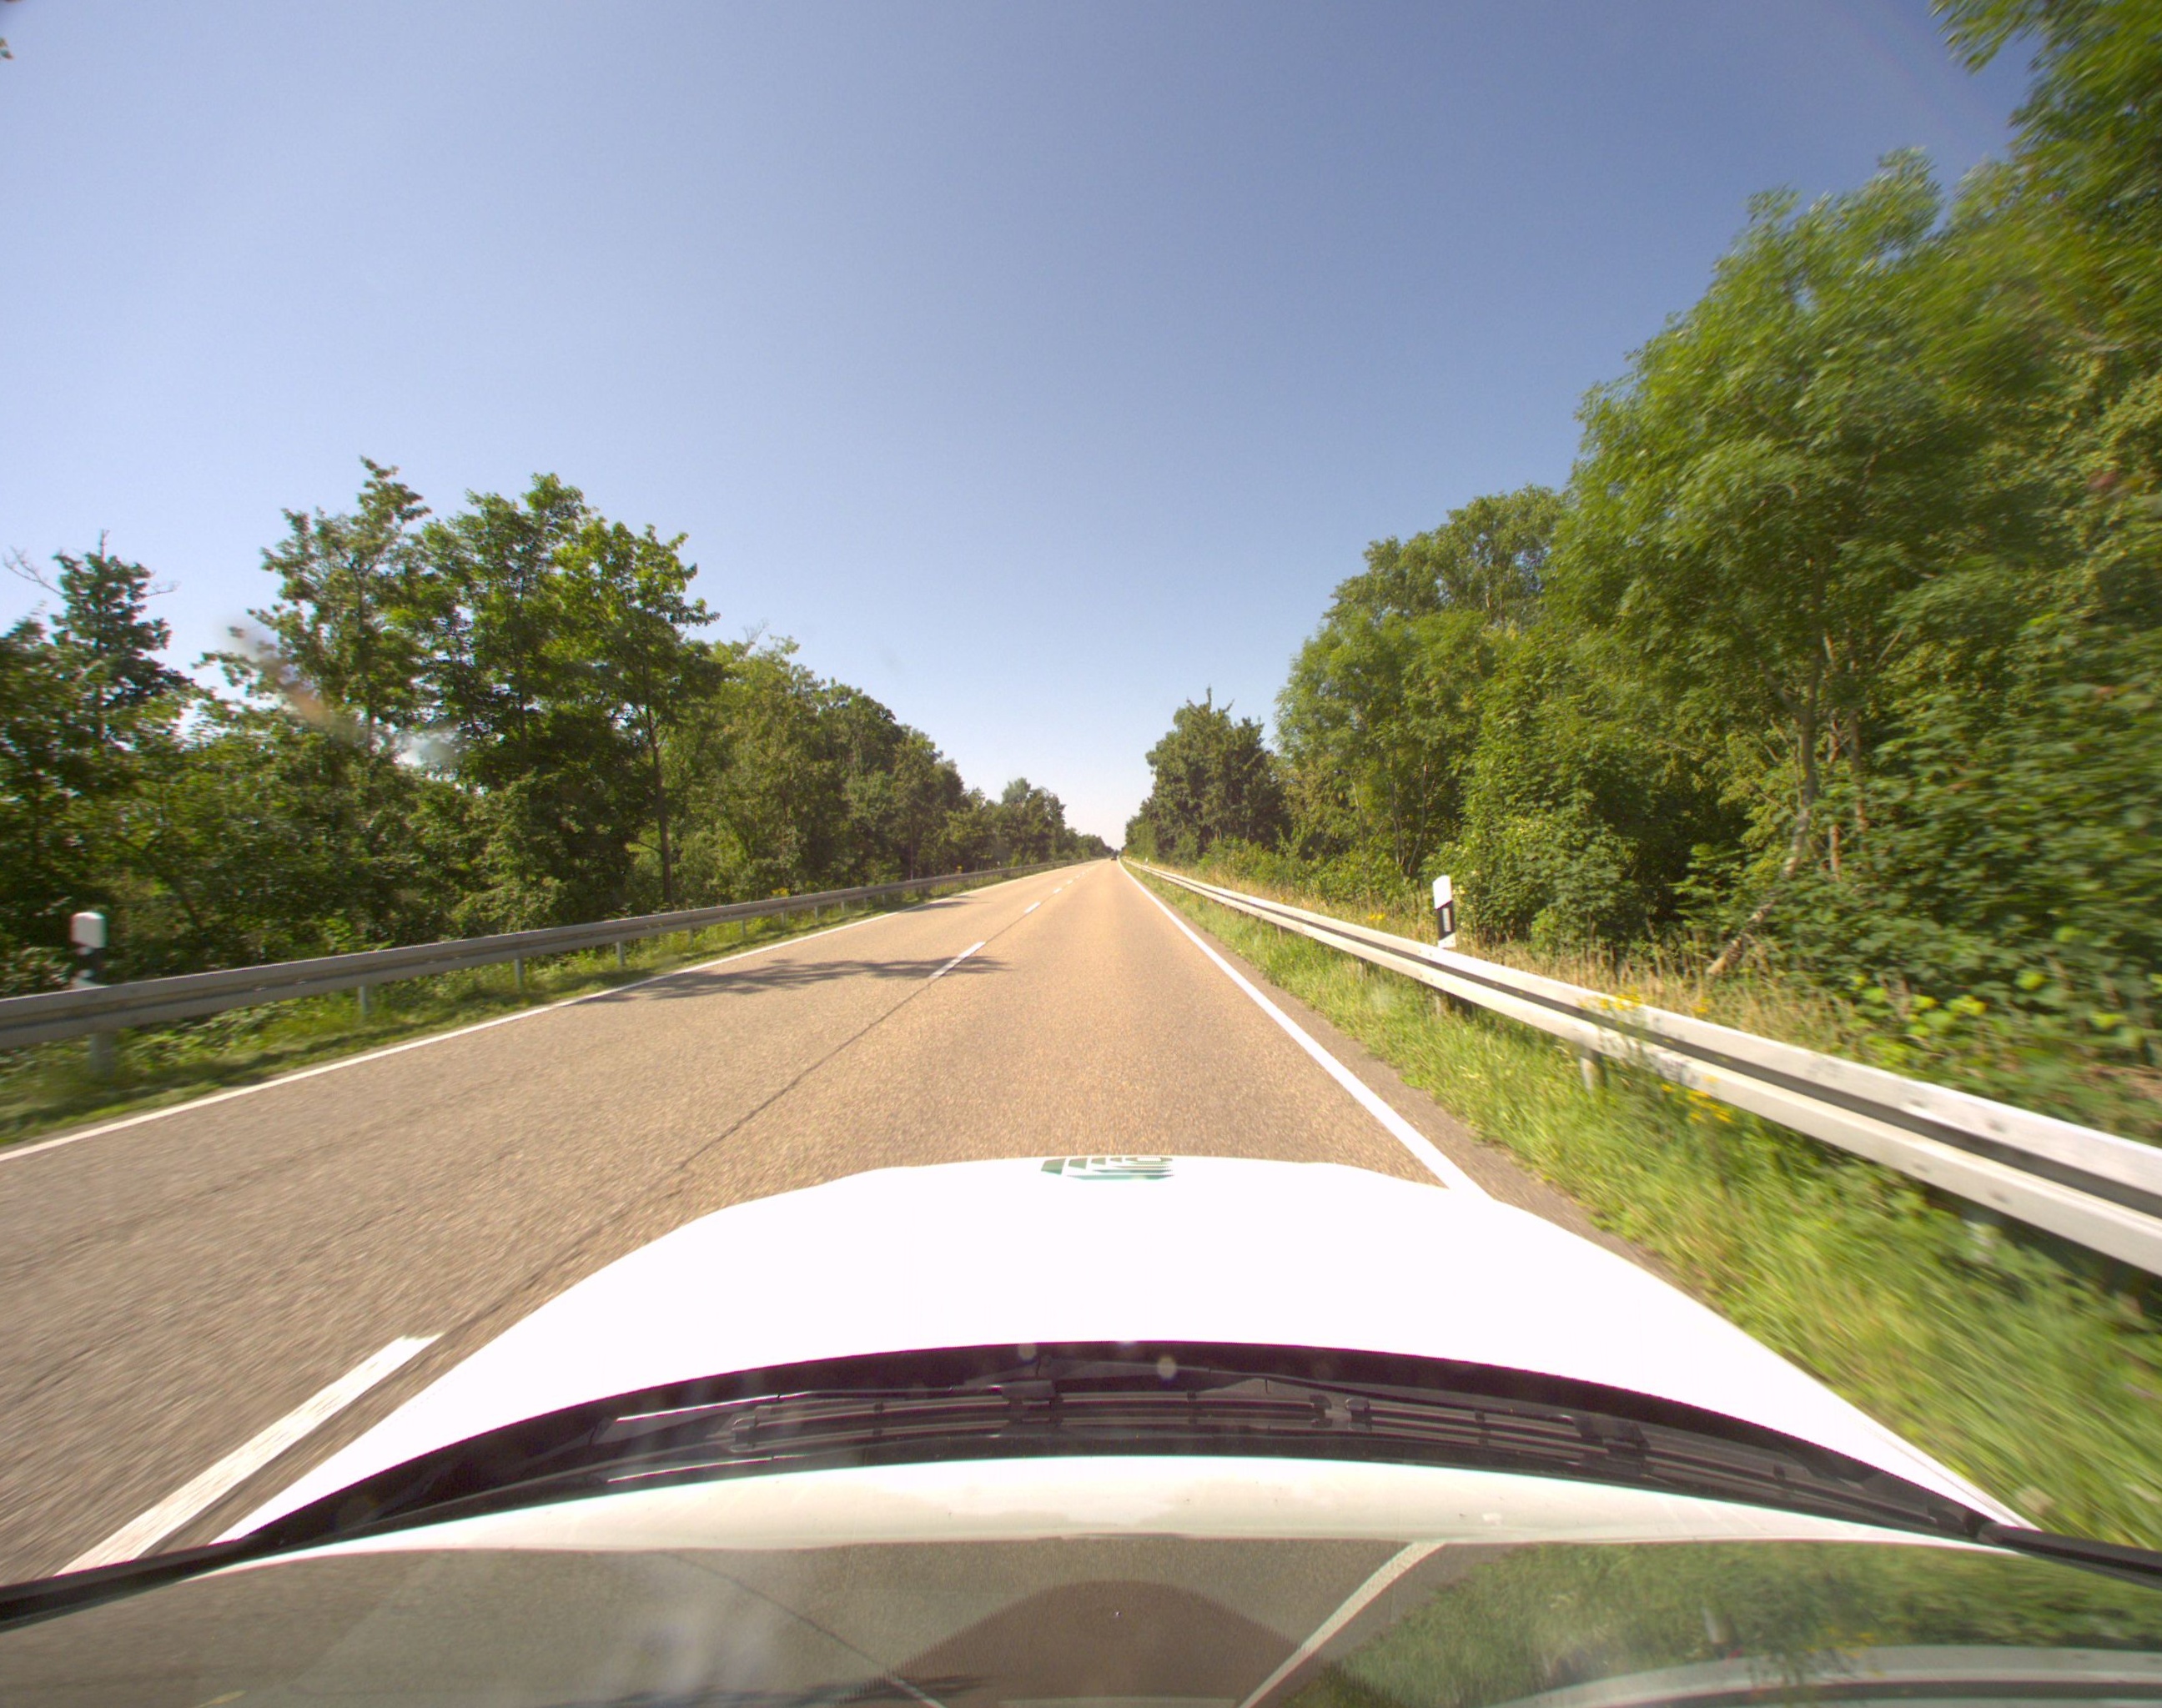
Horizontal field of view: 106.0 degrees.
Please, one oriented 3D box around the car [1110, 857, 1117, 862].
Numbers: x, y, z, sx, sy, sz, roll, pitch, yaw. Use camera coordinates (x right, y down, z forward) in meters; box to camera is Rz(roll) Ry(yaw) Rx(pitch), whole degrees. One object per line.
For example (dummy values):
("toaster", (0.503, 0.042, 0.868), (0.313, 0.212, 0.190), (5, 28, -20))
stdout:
("car", (9.380, 1.531, 235.105), (1.733, 1.470, 3.696), (-1, 0, 4))
